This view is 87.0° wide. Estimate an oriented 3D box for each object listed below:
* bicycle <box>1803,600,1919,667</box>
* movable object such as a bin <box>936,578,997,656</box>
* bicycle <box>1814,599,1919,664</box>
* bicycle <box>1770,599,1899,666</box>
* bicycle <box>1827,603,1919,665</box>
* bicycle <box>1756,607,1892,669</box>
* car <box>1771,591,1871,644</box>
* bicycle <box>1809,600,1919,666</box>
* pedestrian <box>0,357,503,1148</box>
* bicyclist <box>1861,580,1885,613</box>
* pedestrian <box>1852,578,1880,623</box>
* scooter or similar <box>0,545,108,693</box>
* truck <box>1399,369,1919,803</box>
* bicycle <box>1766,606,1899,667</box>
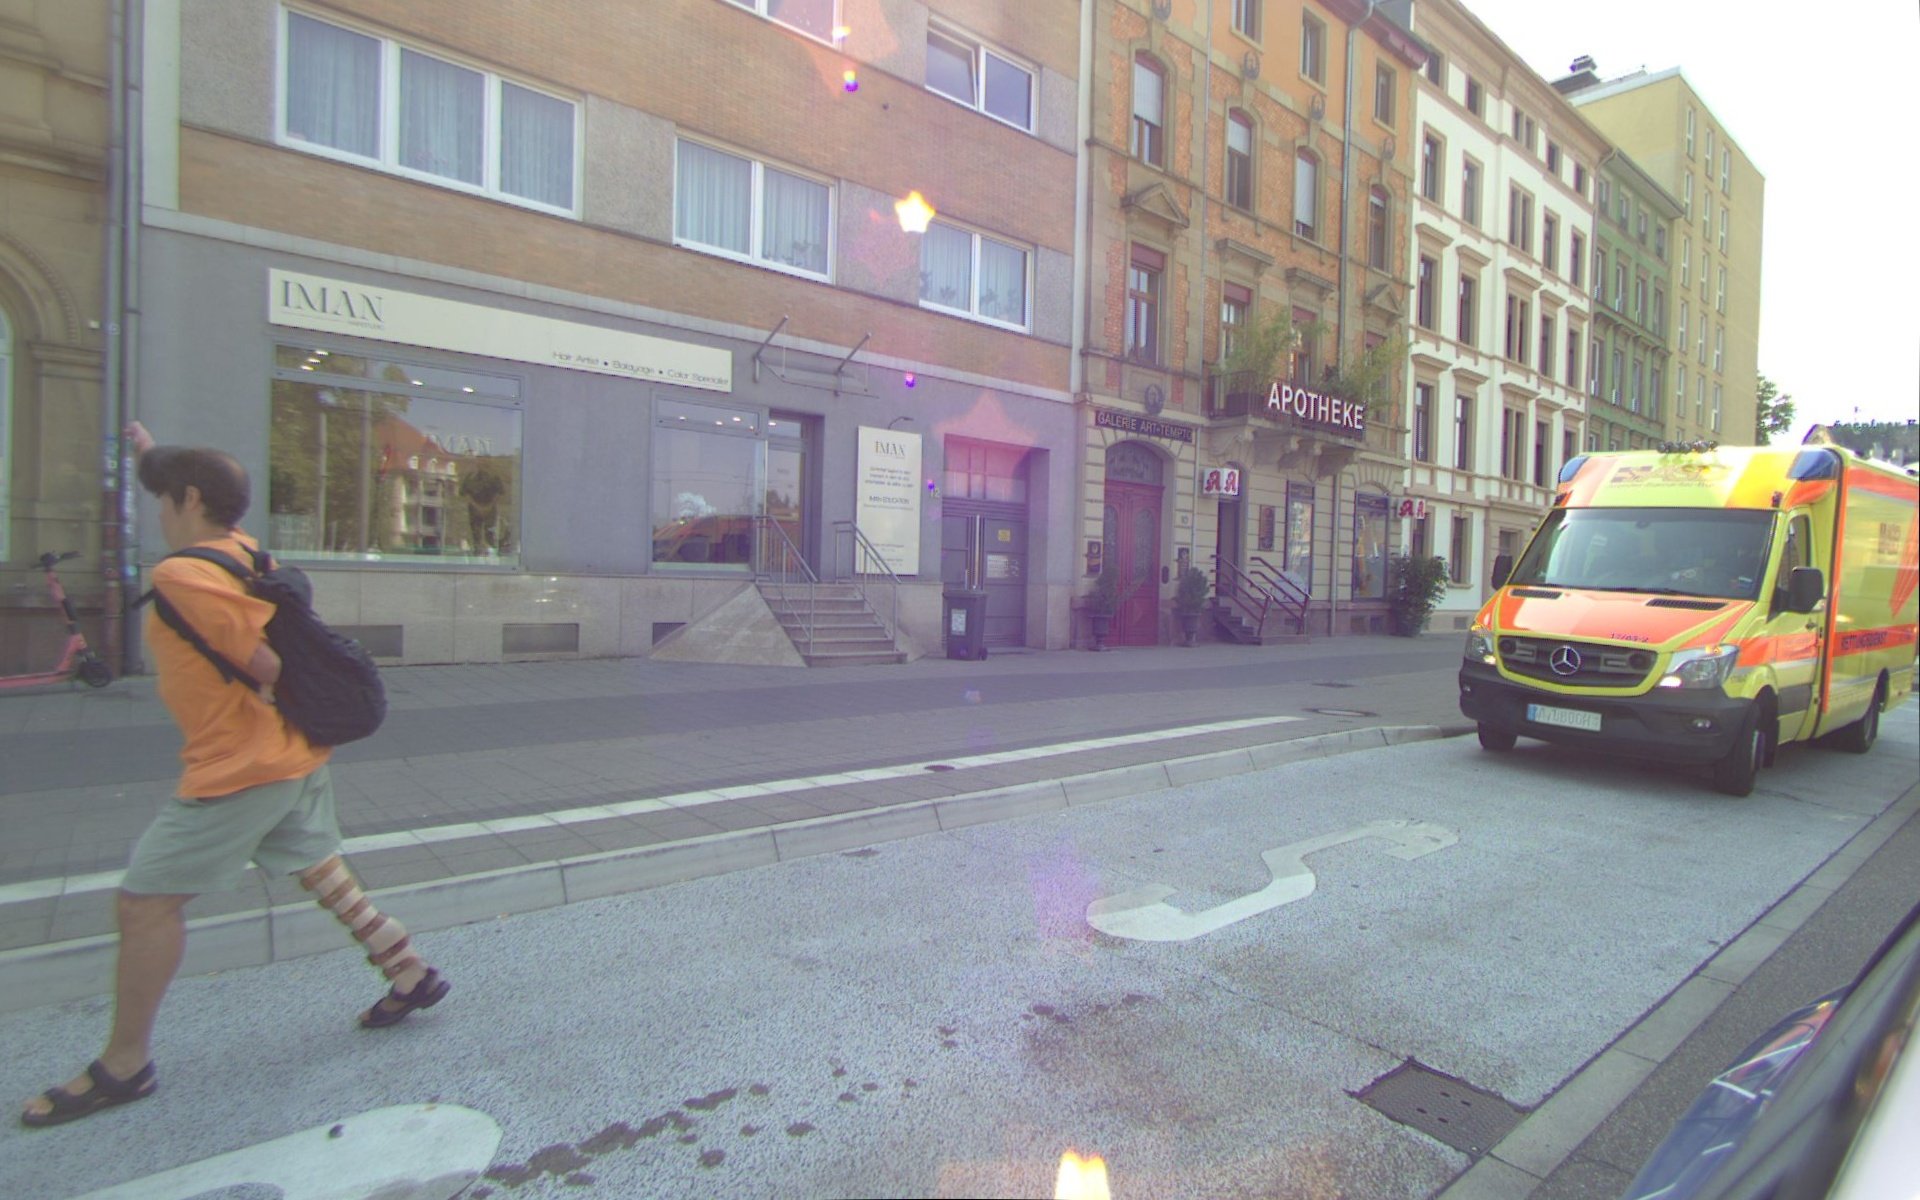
[{"bbox_3d":[17.579,0.631,19.624,0.427,1.219,1.841,1,0,-39],"label":"bicycle"},{"bbox_3d":[0.107,0.239,15.386,0.640,1.118,0.723,3,2,24],"label":"movable object such as a bin"},{"bbox_3d":[18.261,0.618,20.183,0.427,1.235,1.841,1,0,-39],"label":"bicycle"},{"bbox_3d":[16.993,0.600,19.706,0.539,1.219,1.841,1,0,-39],"label":"bicycle"},{"bbox_3d":[19.108,0.679,20.821,0.626,1.219,1.841,1,0,-39],"label":"bicycle"},{"bbox_3d":[16.047,0.678,18.831,0.645,1.074,1.841,1,0,-39],"label":"bicycle"},{"bbox_3d":[26.867,0.503,31.550,3.863,1.444,1.667,0,4,-40],"label":"car"},{"bbox_3d":[17.915,0.630,19.890,0.427,1.219,1.841,1,0,-39],"label":"bicycle"},{"bbox_3d":[-1.981,0.334,2.838,1.213,1.762,0.969,1,1,-23],"label":"pedestrian"},{"bbox_3d":[46.009,-0.179,50.985,1.083,1.606,0.721,1,1,-40],"label":"bicyclist"},{"bbox_3d":[34.226,0.005,38.234,0.783,1.648,0.645,0,2,-42],"label":"pedestrian"},{"bbox_3d":[-8.019,0.147,8.618,0.476,1.227,1.124,3,2,44],"label":"scooter or similar"},{"bbox_3d":[6.893,-0.163,9.356,6.221,2.803,2.336,0,4,-37],"label":"truck"},{"bbox_3d":[16.572,0.673,19.261,0.645,1.070,1.841,1,0,-39],"label":"bicycle"}]
